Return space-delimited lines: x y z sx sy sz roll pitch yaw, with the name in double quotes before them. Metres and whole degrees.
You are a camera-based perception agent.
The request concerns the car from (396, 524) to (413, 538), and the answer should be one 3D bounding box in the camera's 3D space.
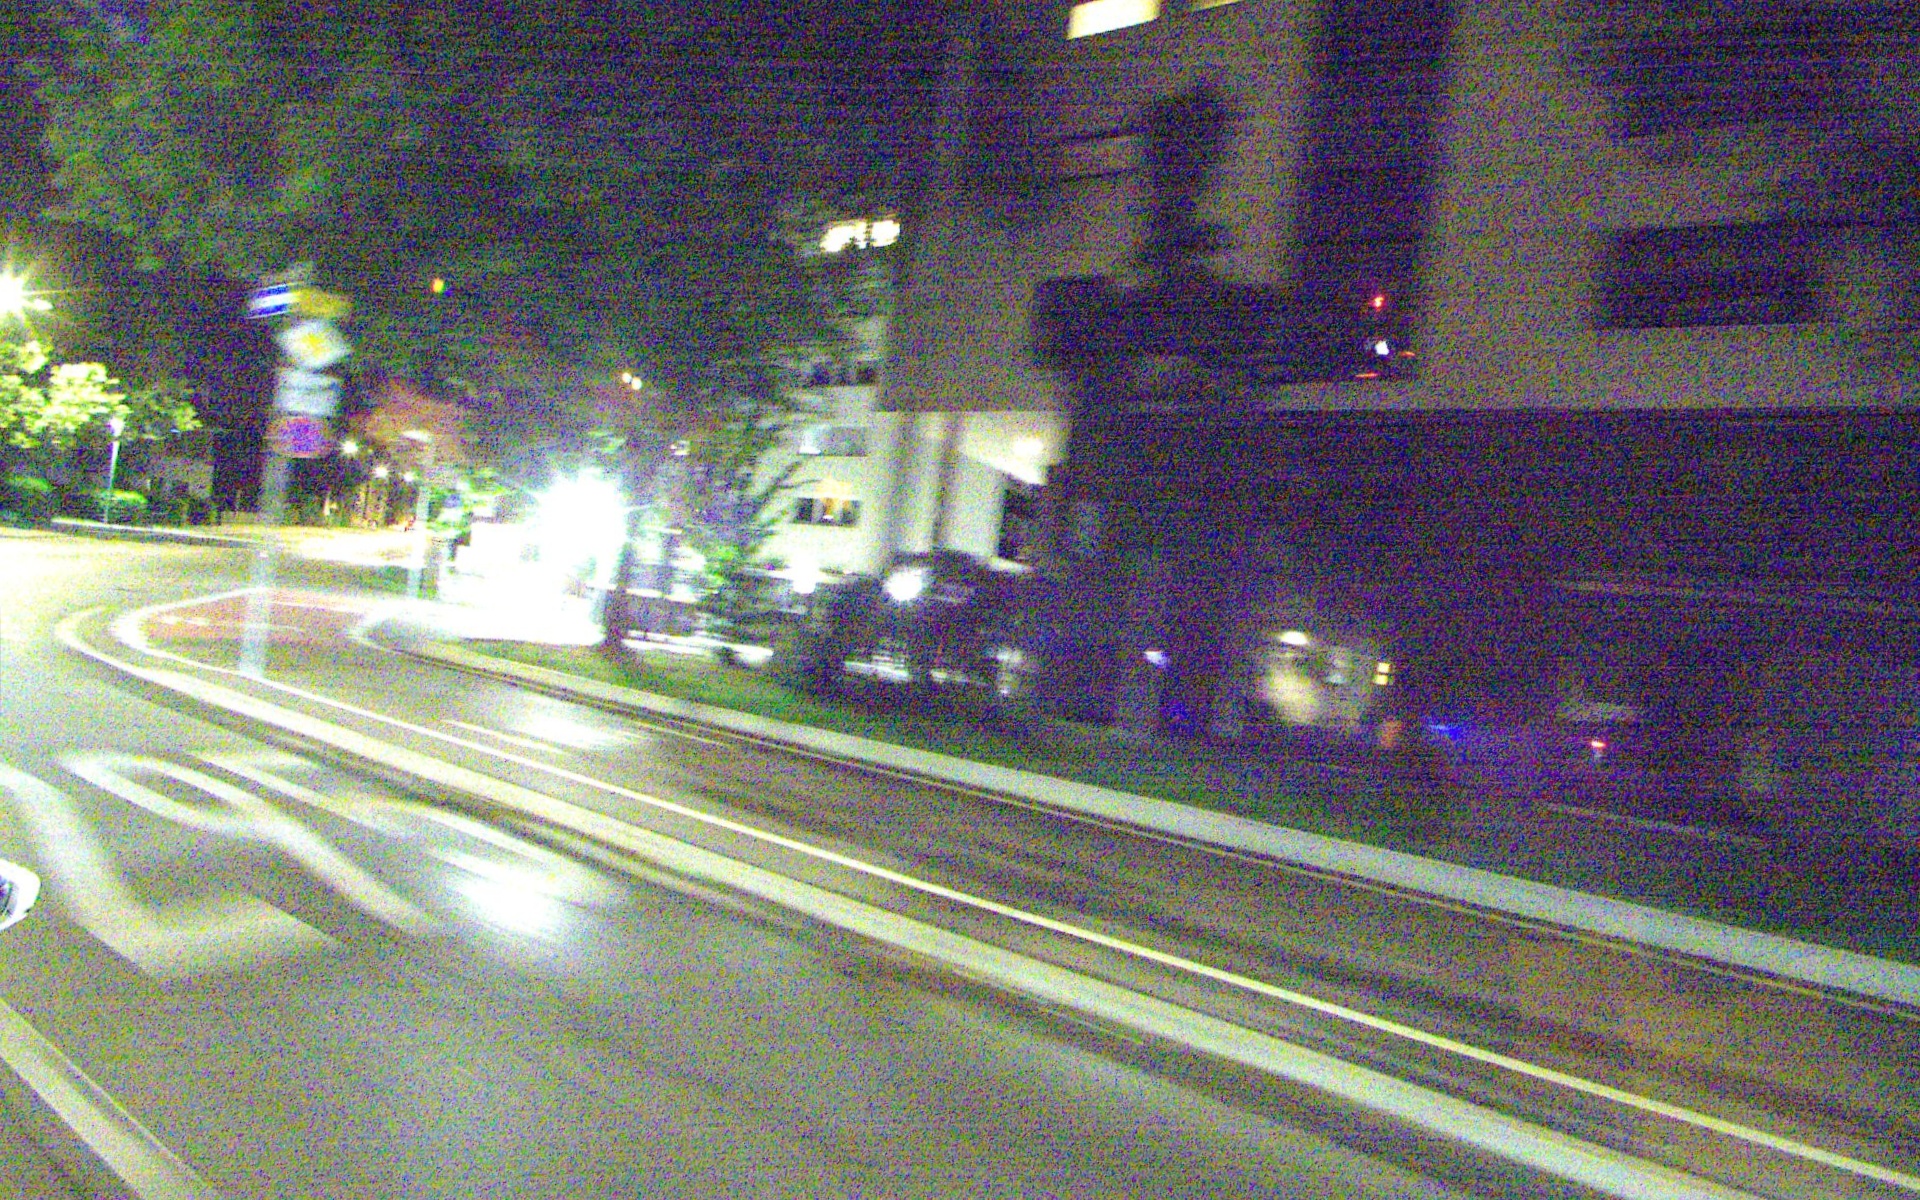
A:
"car" -90.043 -11.144 163.025 1.907 1.876 3.976 7 -1 -25
